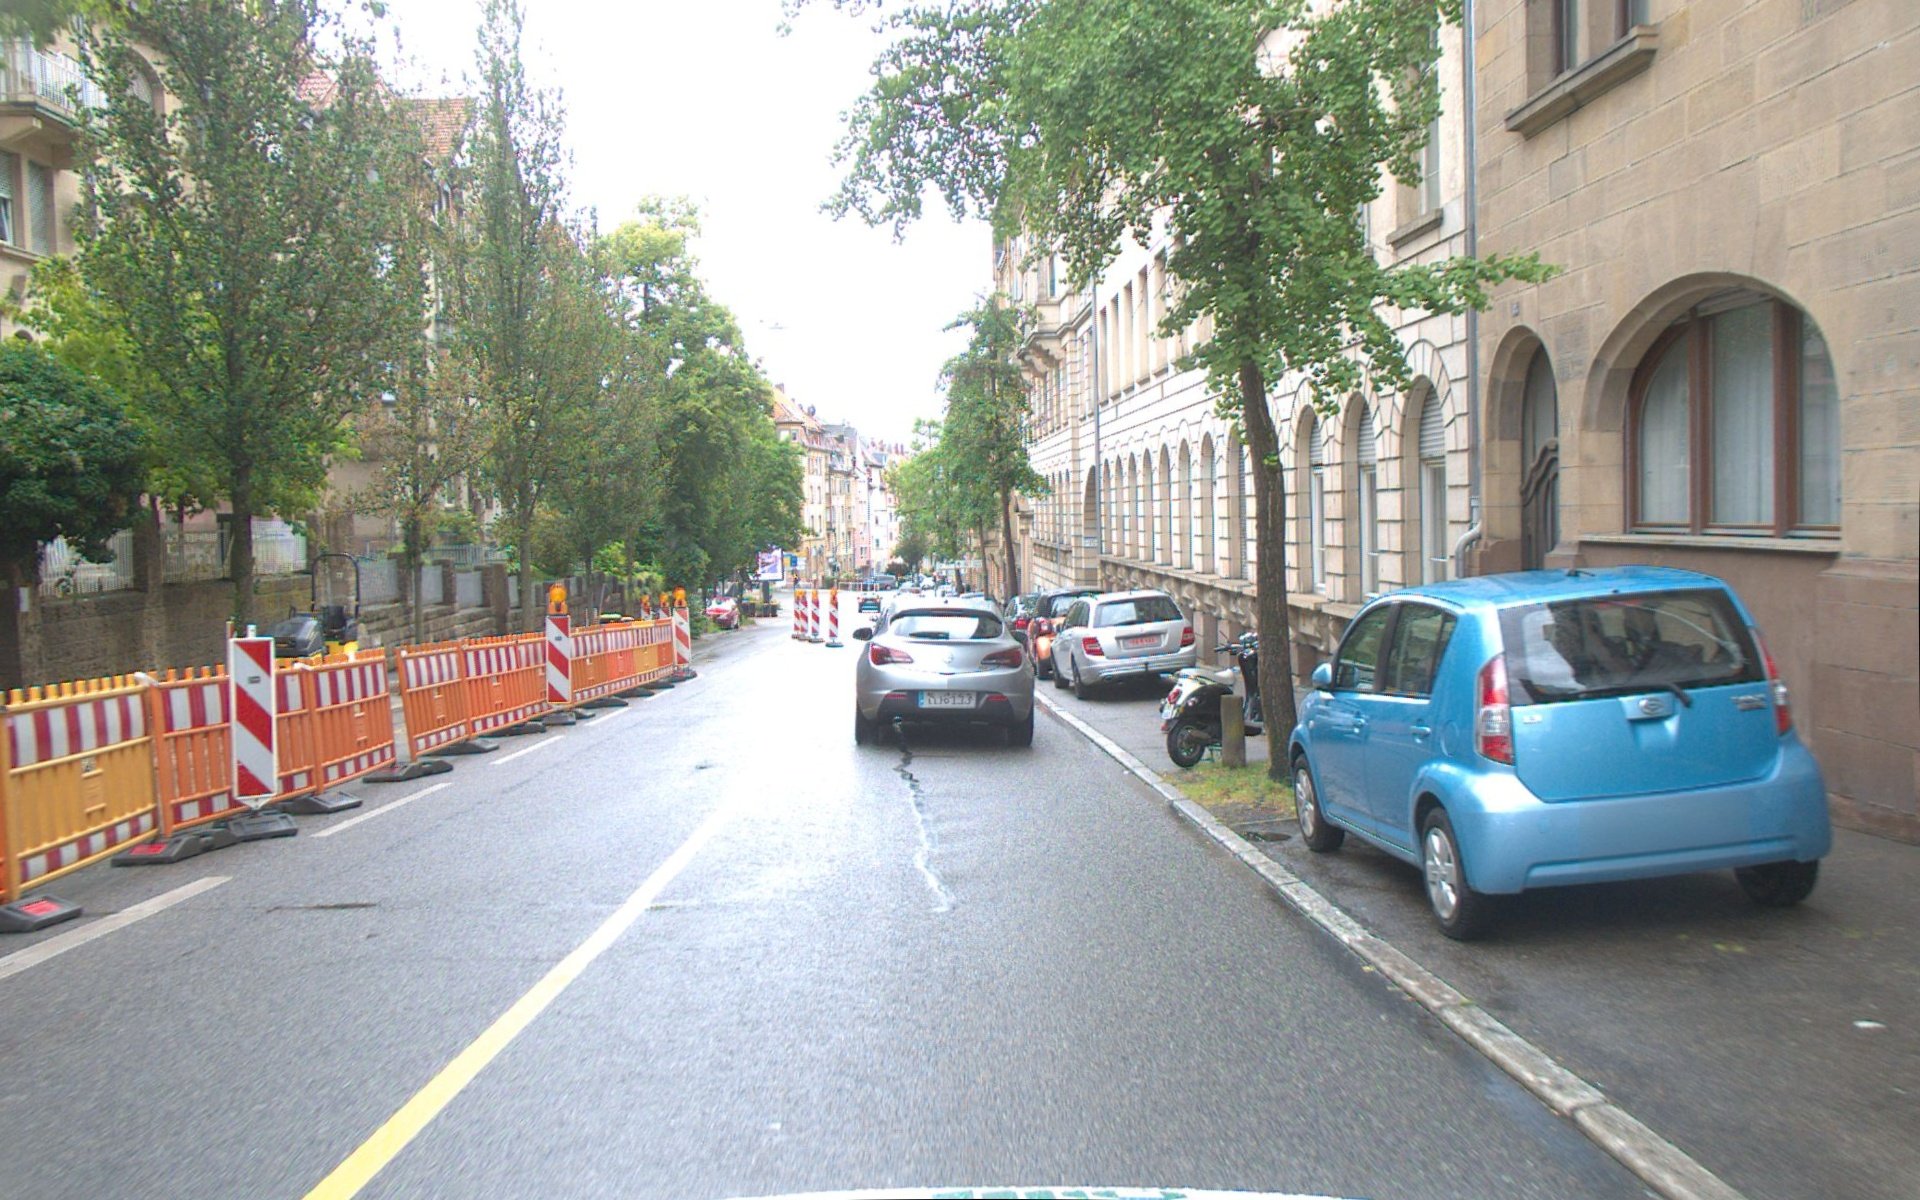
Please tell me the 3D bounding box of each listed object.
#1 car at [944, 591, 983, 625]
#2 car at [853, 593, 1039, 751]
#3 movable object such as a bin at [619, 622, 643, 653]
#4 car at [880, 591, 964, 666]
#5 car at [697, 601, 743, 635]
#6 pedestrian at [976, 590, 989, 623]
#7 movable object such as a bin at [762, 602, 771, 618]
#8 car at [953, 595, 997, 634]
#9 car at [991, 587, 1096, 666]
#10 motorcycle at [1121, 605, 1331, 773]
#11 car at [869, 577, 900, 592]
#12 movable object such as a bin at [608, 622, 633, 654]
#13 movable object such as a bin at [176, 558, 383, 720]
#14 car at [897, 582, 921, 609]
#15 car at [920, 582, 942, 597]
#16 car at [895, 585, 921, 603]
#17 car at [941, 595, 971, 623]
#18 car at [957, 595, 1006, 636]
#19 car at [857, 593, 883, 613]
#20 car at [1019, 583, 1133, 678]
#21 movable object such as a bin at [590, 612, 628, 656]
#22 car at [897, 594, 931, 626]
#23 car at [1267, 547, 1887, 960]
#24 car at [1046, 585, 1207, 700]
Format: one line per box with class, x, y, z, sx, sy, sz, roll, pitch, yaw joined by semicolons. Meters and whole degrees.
car;0.162;0.372;82.813;1.605;1.630;3.854;-2;0;-4
car;-0.146;0.685;17.741;1.774;1.475;3.869;0;1;0
movable object such as a bin;-10.011;1.129;50.300;0.591;0.923;0.623;1;0;-1
car;-0.829;0.585;36.128;1.736;1.530;3.868;0;1;-2
car;-11.074;0.813;76.418;1.604;1.464;4.078;-2;0;-2
pedestrian;1.330;0.385;96.965;0.701;1.903;0.635;1;-1;-2
movable object such as a bin;-13.973;0.713;119.166;0.613;1.077;0.719;2;0;-8
car;0.588;0.574;67.989;1.604;1.494;3.856;-2;0;-2
car;1.755;0.527;36.271;1.723;1.486;4.721;-4;1;-3
motorcycle;2.344;0.734;14.415;1.920;1.257;0.648;-4;2;-39
car;-9.658;-1.973;211.192;3.907;1.780;1.999;2;0;-2
movable object such as a bin;-10.032;1.117;48.874;0.591;0.923;0.623;1;0;-1
movable object such as a bin;-10.604;0.564;25.975;1.952;2.339;2.816;-2;1;2
car;-3.474;-0.334;113.800;1.623;1.813;3.664;0;0;-2
car;-3.413;-1.224;196.244;1.951;1.713;4.003;2;0;8
car;-5.207;-0.556;166.621;1.951;1.713;4.003;2;0;8
car;-0.237;0.500;97.564;1.604;1.551;3.856;-2;0;-2
car;0.793;0.584;62.805;1.604;1.454;3.375;-2;0;-3
car;-7.059;0.219;129.011;1.954;1.527;3.996;-1;0;-4
car;2.069;0.516;30.245;1.606;1.546;3.181;-4;0;-3
movable object such as a bin;-10.161;0.986;47.917;0.925;1.235;0.856;1;0;-1
car;-2.489;0.518;88.927;1.624;1.570;3.662;-3;0;-4
car;2.836;0.612;8.499;1.623;1.570;3.663;-3;0;-2
car;2.392;0.561;24.787;1.661;1.456;4.419;-4;1;-3
